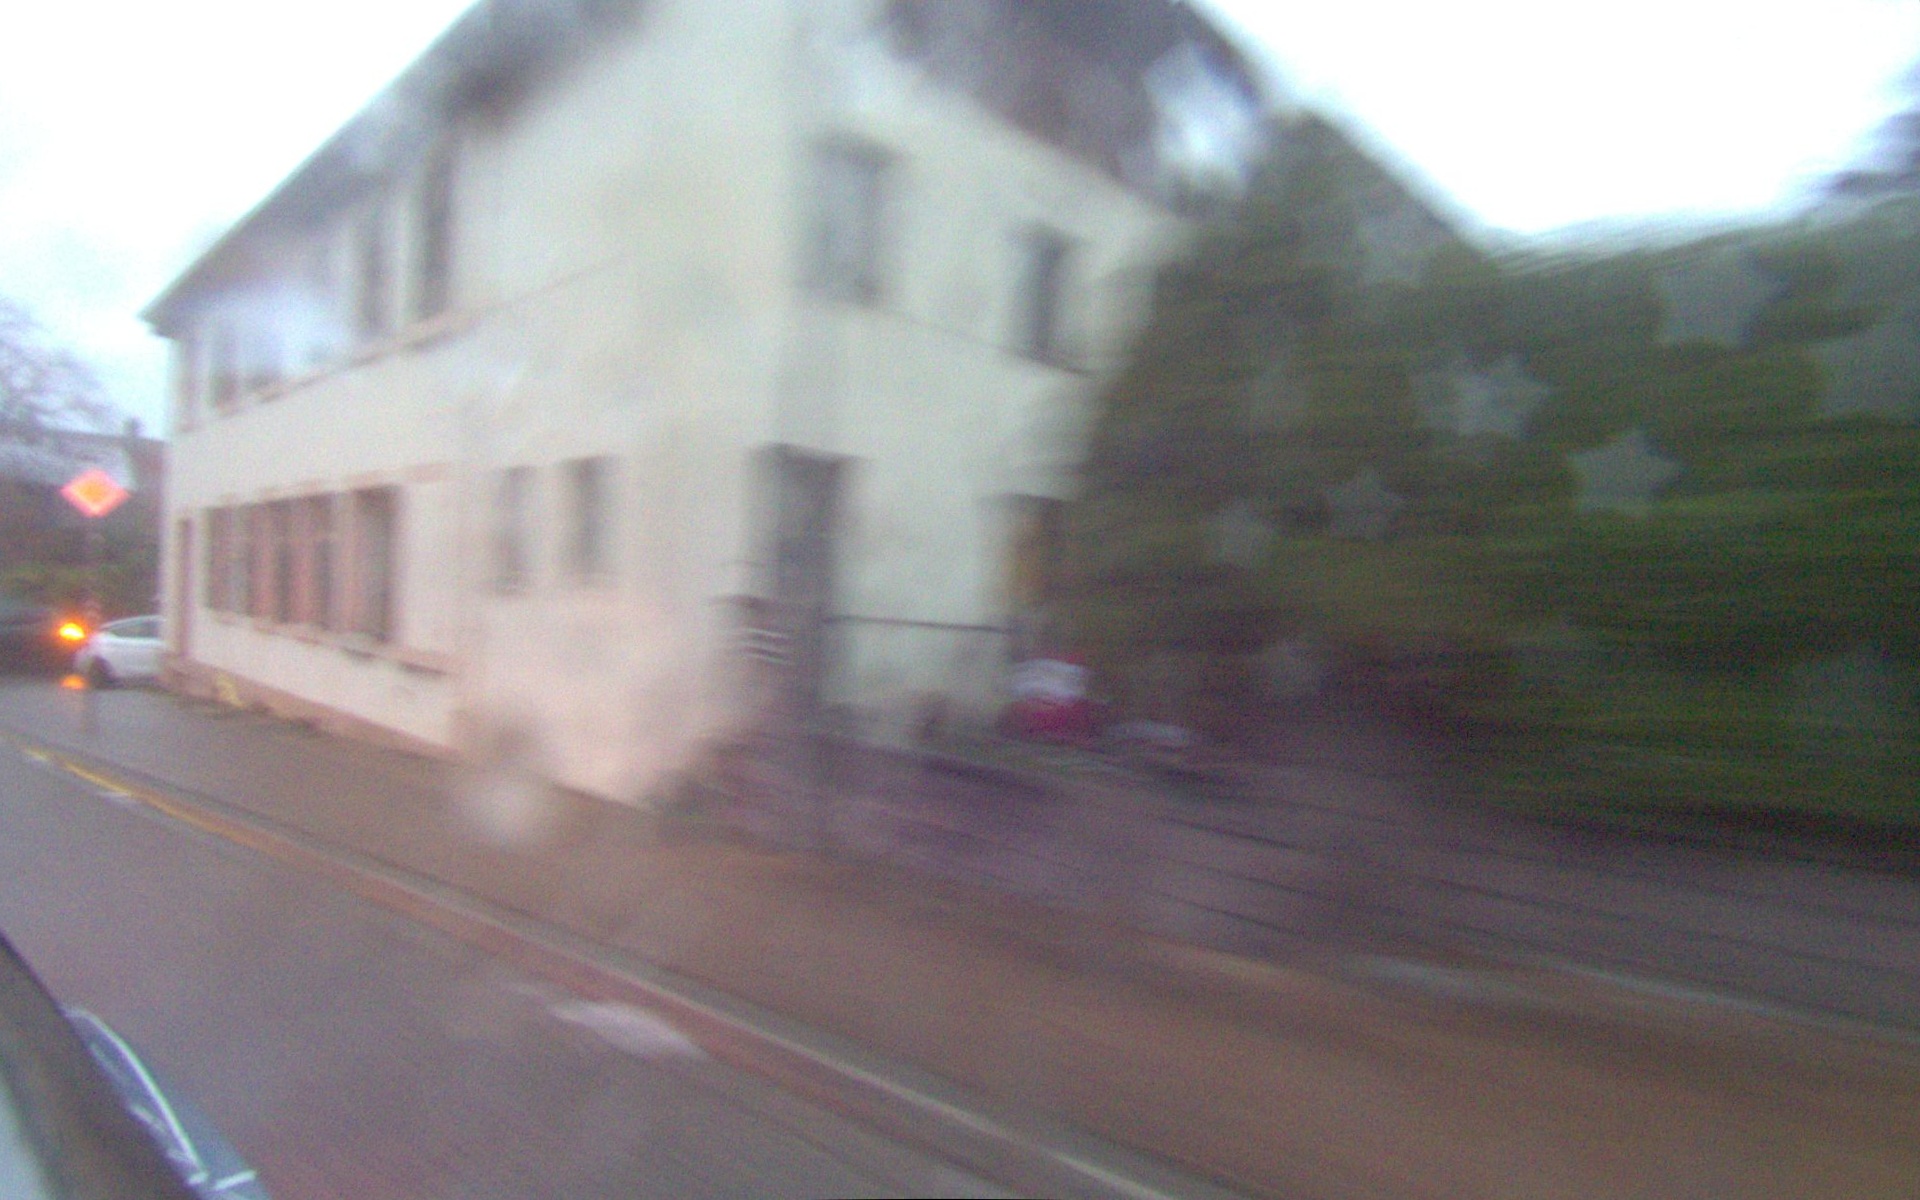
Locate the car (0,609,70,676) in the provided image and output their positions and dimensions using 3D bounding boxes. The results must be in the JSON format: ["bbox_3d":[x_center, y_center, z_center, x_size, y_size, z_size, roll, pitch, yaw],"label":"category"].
[{"bbox_3d":[-24.320,1.022,24.009,1.993,1.591,4.434,0,0,31],"label":"car"}]

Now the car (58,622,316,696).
[{"bbox_3d":[-16.295,1.212,21.448,4.187,1.436,1.995,0,0,8],"label":"car"}]
